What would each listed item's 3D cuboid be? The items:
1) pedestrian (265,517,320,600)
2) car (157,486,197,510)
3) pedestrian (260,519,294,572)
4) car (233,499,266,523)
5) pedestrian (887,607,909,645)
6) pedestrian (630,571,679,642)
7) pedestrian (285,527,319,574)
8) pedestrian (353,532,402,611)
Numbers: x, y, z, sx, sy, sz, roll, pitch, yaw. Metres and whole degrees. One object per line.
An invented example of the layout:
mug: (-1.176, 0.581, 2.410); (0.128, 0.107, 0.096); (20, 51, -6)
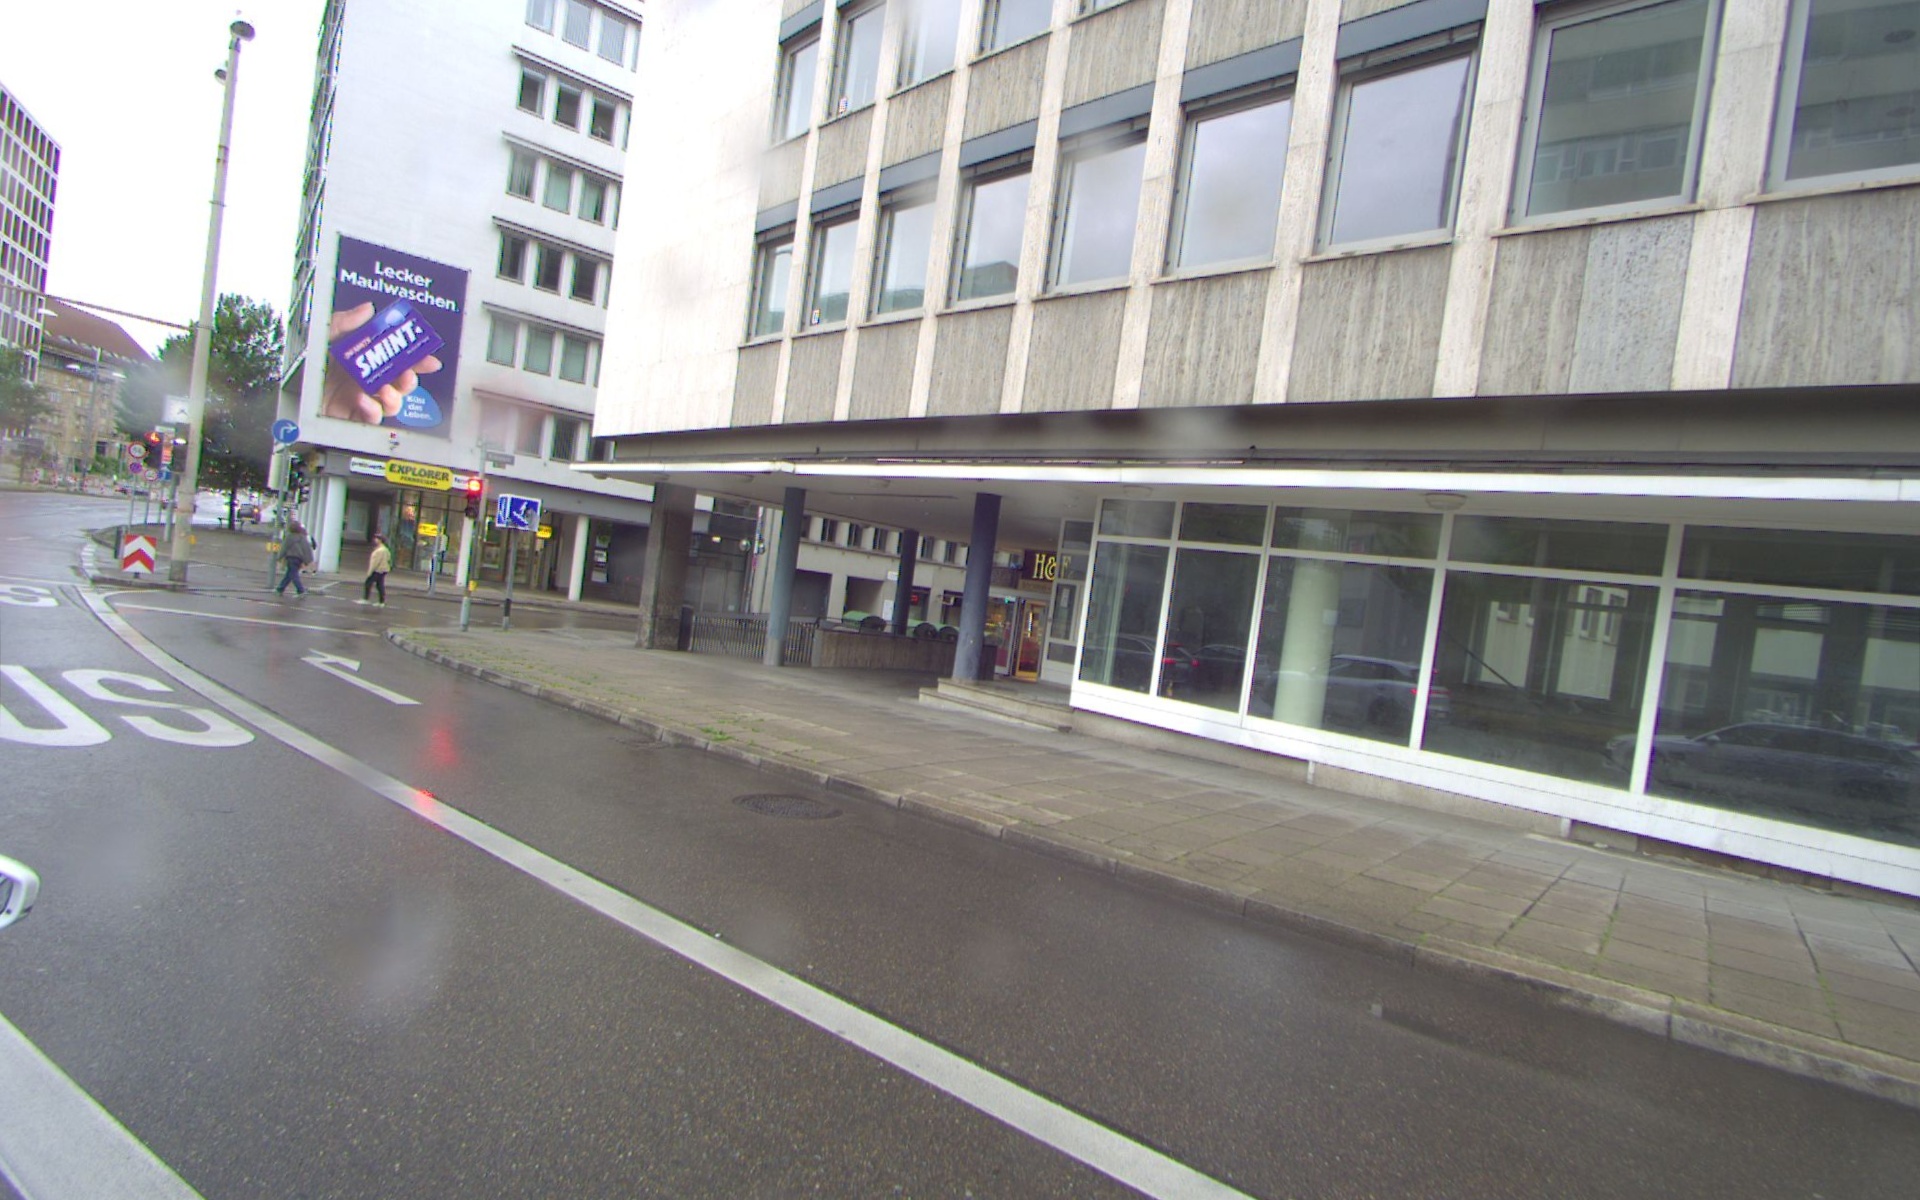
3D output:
pedestrian: (-15.615, -0.966, 23.524); (0.810, 1.820, 0.702); (7, 0, -43)
car: (-65.735, -8.521, 84.508); (1.897, 1.527, 4.322); (9, -2, -31)
pedestrian: (-23.470, -1.872, 34.561); (0.725, 1.688, 0.682); (7, 0, -43)
car: (-69.172, -8.663, 97.993); (2.032, 1.786, 4.324); (9, -2, -29)
pedestrian: (-3.168, 1.334, 51.331); (0.677, 1.820, 0.722); (7, 0, -37)
pedestrian: (-8.233, 0.168, 27.145); (1.002, 1.776, 0.793); (7, -1, -14)
pedestrian: (-22.865, -1.722, 34.957); (0.725, 1.542, 0.751); (7, -1, -43)
pedestrian: (-14.384, -0.705, 24.848); (0.725, 1.820, 0.730); (7, 1, -43)
